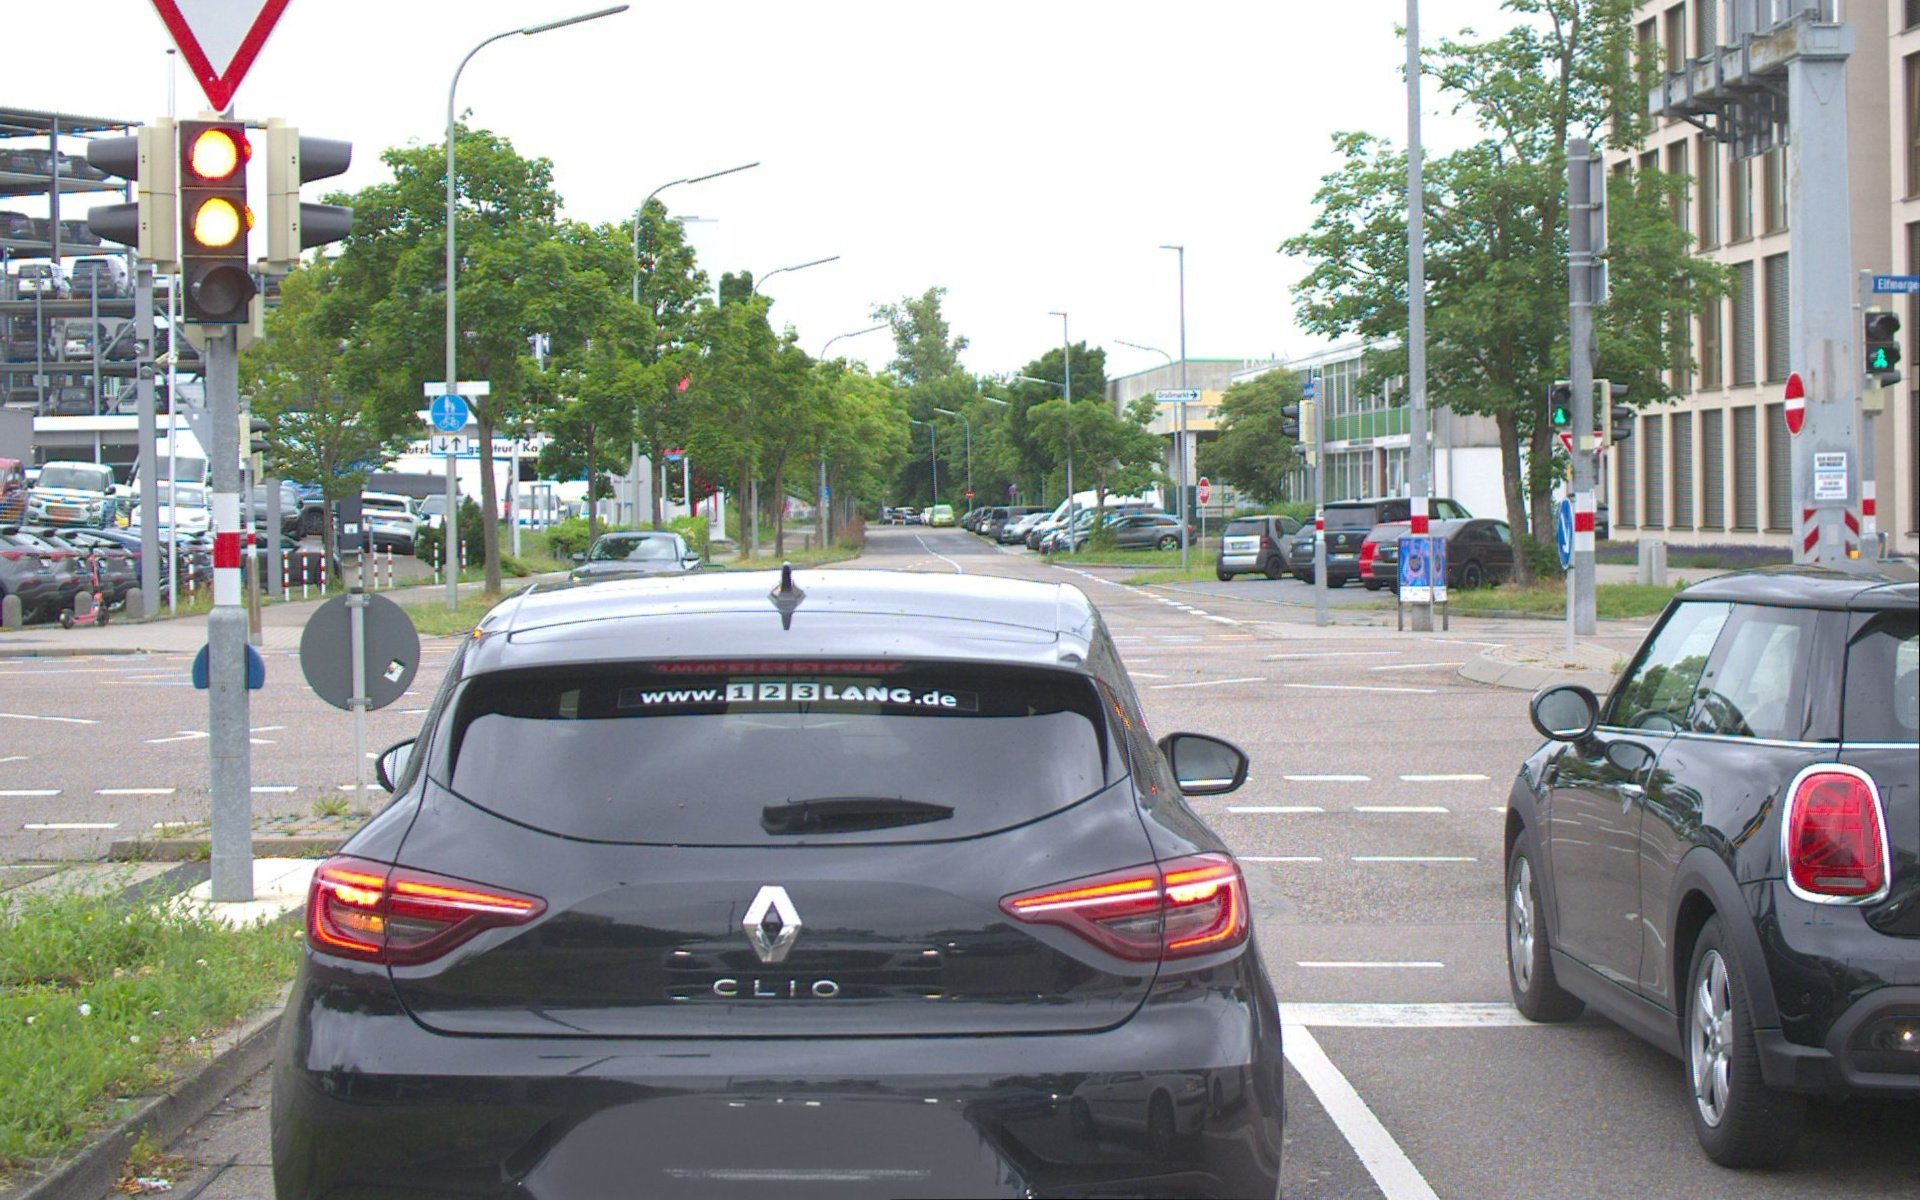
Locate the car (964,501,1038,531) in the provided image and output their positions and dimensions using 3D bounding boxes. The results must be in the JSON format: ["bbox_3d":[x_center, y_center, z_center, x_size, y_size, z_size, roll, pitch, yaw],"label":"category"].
[{"bbox_3d":[2.734,-5.590,229.853,4.785,1.885,2.144,1,0,-2],"label":"car"}]

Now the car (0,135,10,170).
[{"bbox_3d":[-50.295,-22.628,174.133,3.994,1.661,1.996,1,2,32],"label":"car"}]

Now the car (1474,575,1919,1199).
[{"bbox_3d":[2.565,0.650,9.265,1.786,1.411,3.643,1,0,0],"label":"car"}]

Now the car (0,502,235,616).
[{"bbox_3d":[-16.826,-0.784,67.208,4.892,2.007,2.000,-3,1,-5],"label":"car"}]

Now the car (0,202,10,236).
[{"bbox_3d":[-50.275,-19.282,174.160,3.994,1.661,1.996,1,2,32],"label":"car"}]

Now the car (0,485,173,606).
[{"bbox_3d":[-16.699,-0.932,61.667,4.772,2.007,2.000,-3,1,-6],"label":"car"}]

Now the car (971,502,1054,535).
[{"bbox_3d":[3.312,-5.159,218.100,5.173,2.007,2.144,1,0,-1],"label":"car"}]

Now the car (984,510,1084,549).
[{"bbox_3d":[3.899,-3.733,182.155,5.173,2.007,2.144,1,0,-1],"label":"car"}]

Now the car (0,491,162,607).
[{"bbox_3d":[-16.419,-0.819,59.176,4.945,1.870,2.054,-3,1,-6],"label":"car"}]

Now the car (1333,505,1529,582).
[{"bbox_3d":[9.754,-1.167,71.034,1.887,1.546,4.123,0,1,45],"label":"car"}]

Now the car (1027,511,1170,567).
[{"bbox_3d":[5.188,-2.281,128.969,5.173,2.007,2.144,1,0,-2],"label":"car"}]

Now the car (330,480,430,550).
[{"bbox_3d":[-14.053,-2.040,83.426,1.993,1.612,4.001,1,1,-4],"label":"car"}]

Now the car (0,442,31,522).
[{"bbox_3d":[-23.999,-2.864,83.540,1.993,1.842,4.001,1,1,-4],"label":"car"}]

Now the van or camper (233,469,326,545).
[{"bbox_3d":[-18.707,-2.537,94.658,1.993,2.007,4.001,1,1,-4],"label":"van or camper"}]

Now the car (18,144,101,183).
[{"bbox_3d":[-47.065,-22.801,179.594,3.994,1.661,1.996,1,2,32],"label":"car"}]

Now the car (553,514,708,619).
[{"bbox_3d":[-5.169,-0.568,54.476,1.978,1.546,4.614,-1,2,0],"label":"car"}]

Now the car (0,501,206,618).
[{"bbox_3d":[-16.794,-0.727,64.488,4.892,2.007,2.000,-3,1,-5],"label":"car"}]

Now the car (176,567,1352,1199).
[{"bbox_3d":[-0.320,0.658,7.175,1.757,1.430,4.000,1,1,-1],"label":"car"}]

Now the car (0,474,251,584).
[{"bbox_3d":[-17.091,-1.445,70.031,4.892,2.007,2.000,-3,1,-5],"label":"car"}]

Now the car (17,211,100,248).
[{"bbox_3d":[-47.047,-19.326,179.468,3.994,1.661,1.996,1,2,32],"label":"car"}]

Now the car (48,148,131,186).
[{"bbox_3d":[-45.969,-22.853,181.538,3.994,1.661,1.996,1,2,32],"label":"car"}]

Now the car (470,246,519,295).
[{"bbox_3d":[-21.483,-15.200,158.668,1.993,1.876,4.001,-1,1,-5],"label":"car"}]

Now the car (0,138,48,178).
[{"bbox_3d":[-48.905,-22.626,176.242,3.994,1.661,1.996,1,2,32],"label":"car"}]

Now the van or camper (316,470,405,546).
[{"bbox_3d":[-16.508,-2.509,94.850,1.993,2.007,4.001,1,1,-4],"label":"van or camper"}]

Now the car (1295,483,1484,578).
[{"bbox_3d":[9.298,-1.490,74.231,1.998,1.959,4.235,0,1,41],"label":"car"}]

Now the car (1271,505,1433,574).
[{"bbox_3d":[8.868,-1.368,77.636,1.696,1.506,3.808,0,1,43],"label":"car"}]

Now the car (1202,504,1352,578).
[{"bbox_3d":[7.755,-1.433,83.948,3.424,1.726,1.765,0,1,-42],"label":"car"}]

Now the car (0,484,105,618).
[{"bbox_3d":[-15.912,-0.684,53.541,4.700,2.007,2.000,-3,1,-4],"label":"car"}]

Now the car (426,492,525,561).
[{"bbox_3d":[-11.814,-1.777,84.020,1.993,1.612,4.000,1,1,-2],"label":"car"}]

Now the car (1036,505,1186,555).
[{"bbox_3d":[5.417,-2.503,123.707,5.173,1.714,2.144,1,0,-2],"label":"car"}]

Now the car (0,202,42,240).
[{"bbox_3d":[-49.181,-19.367,176.116,3.994,1.661,1.996,1,2,32],"label":"car"}]

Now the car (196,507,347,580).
[{"bbox_3d":[-19.791,-1.618,98.908,3.986,2.007,2.000,1,0,-3],"label":"car"}]

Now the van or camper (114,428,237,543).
[{"bbox_3d":[-21.555,-3.120,94.660,2.535,3.016,4.844,1,1,-4],"label":"van or camper"}]

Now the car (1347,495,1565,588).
[{"bbox_3d":[9.635,-1.134,66.646,4.121,1.762,1.888,-1,1,-40],"label":"car"}]

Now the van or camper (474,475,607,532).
[{"bbox_3d":[-18.313,-4.219,150.230,5.598,2.363,2.000,1,0,-1],"label":"van or camper"}]

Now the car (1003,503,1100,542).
[{"bbox_3d":[4.659,-3.954,175.553,4.785,1.885,2.144,1,0,-2],"label":"car"}]

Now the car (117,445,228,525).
[{"bbox_3d":[-19.077,-2.768,83.429,1.993,1.817,4.001,1,1,-4],"label":"car"}]

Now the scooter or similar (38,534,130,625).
[{"bbox_3d":[-12.297,-0.302,48.307,0.557,1.214,1.559,2,2,13],"label":"scooter or similar"}]

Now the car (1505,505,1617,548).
[{"bbox_3d":[19.365,-2.353,110.823,3.229,1.328,1.486,1,1,-19],"label":"car"}]

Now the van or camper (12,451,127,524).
[{"bbox_3d":[-21.544,-2.711,83.303,1.993,1.645,4.001,1,1,-4],"label":"van or camper"}]

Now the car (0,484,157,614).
[{"bbox_3d":[-15.967,-0.775,56.548,5.022,2.007,2.266,-3,1,-5],"label":"car"}]

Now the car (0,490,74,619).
[{"bbox_3d":[-15.778,-0.578,50.973,4.771,1.856,2.000,-3,1,-5],"label":"car"}]

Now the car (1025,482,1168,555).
[{"bbox_3d":[6.007,-3.567,151.565,6.116,3.105,2.134,1,0,-1],"label":"car"}]
